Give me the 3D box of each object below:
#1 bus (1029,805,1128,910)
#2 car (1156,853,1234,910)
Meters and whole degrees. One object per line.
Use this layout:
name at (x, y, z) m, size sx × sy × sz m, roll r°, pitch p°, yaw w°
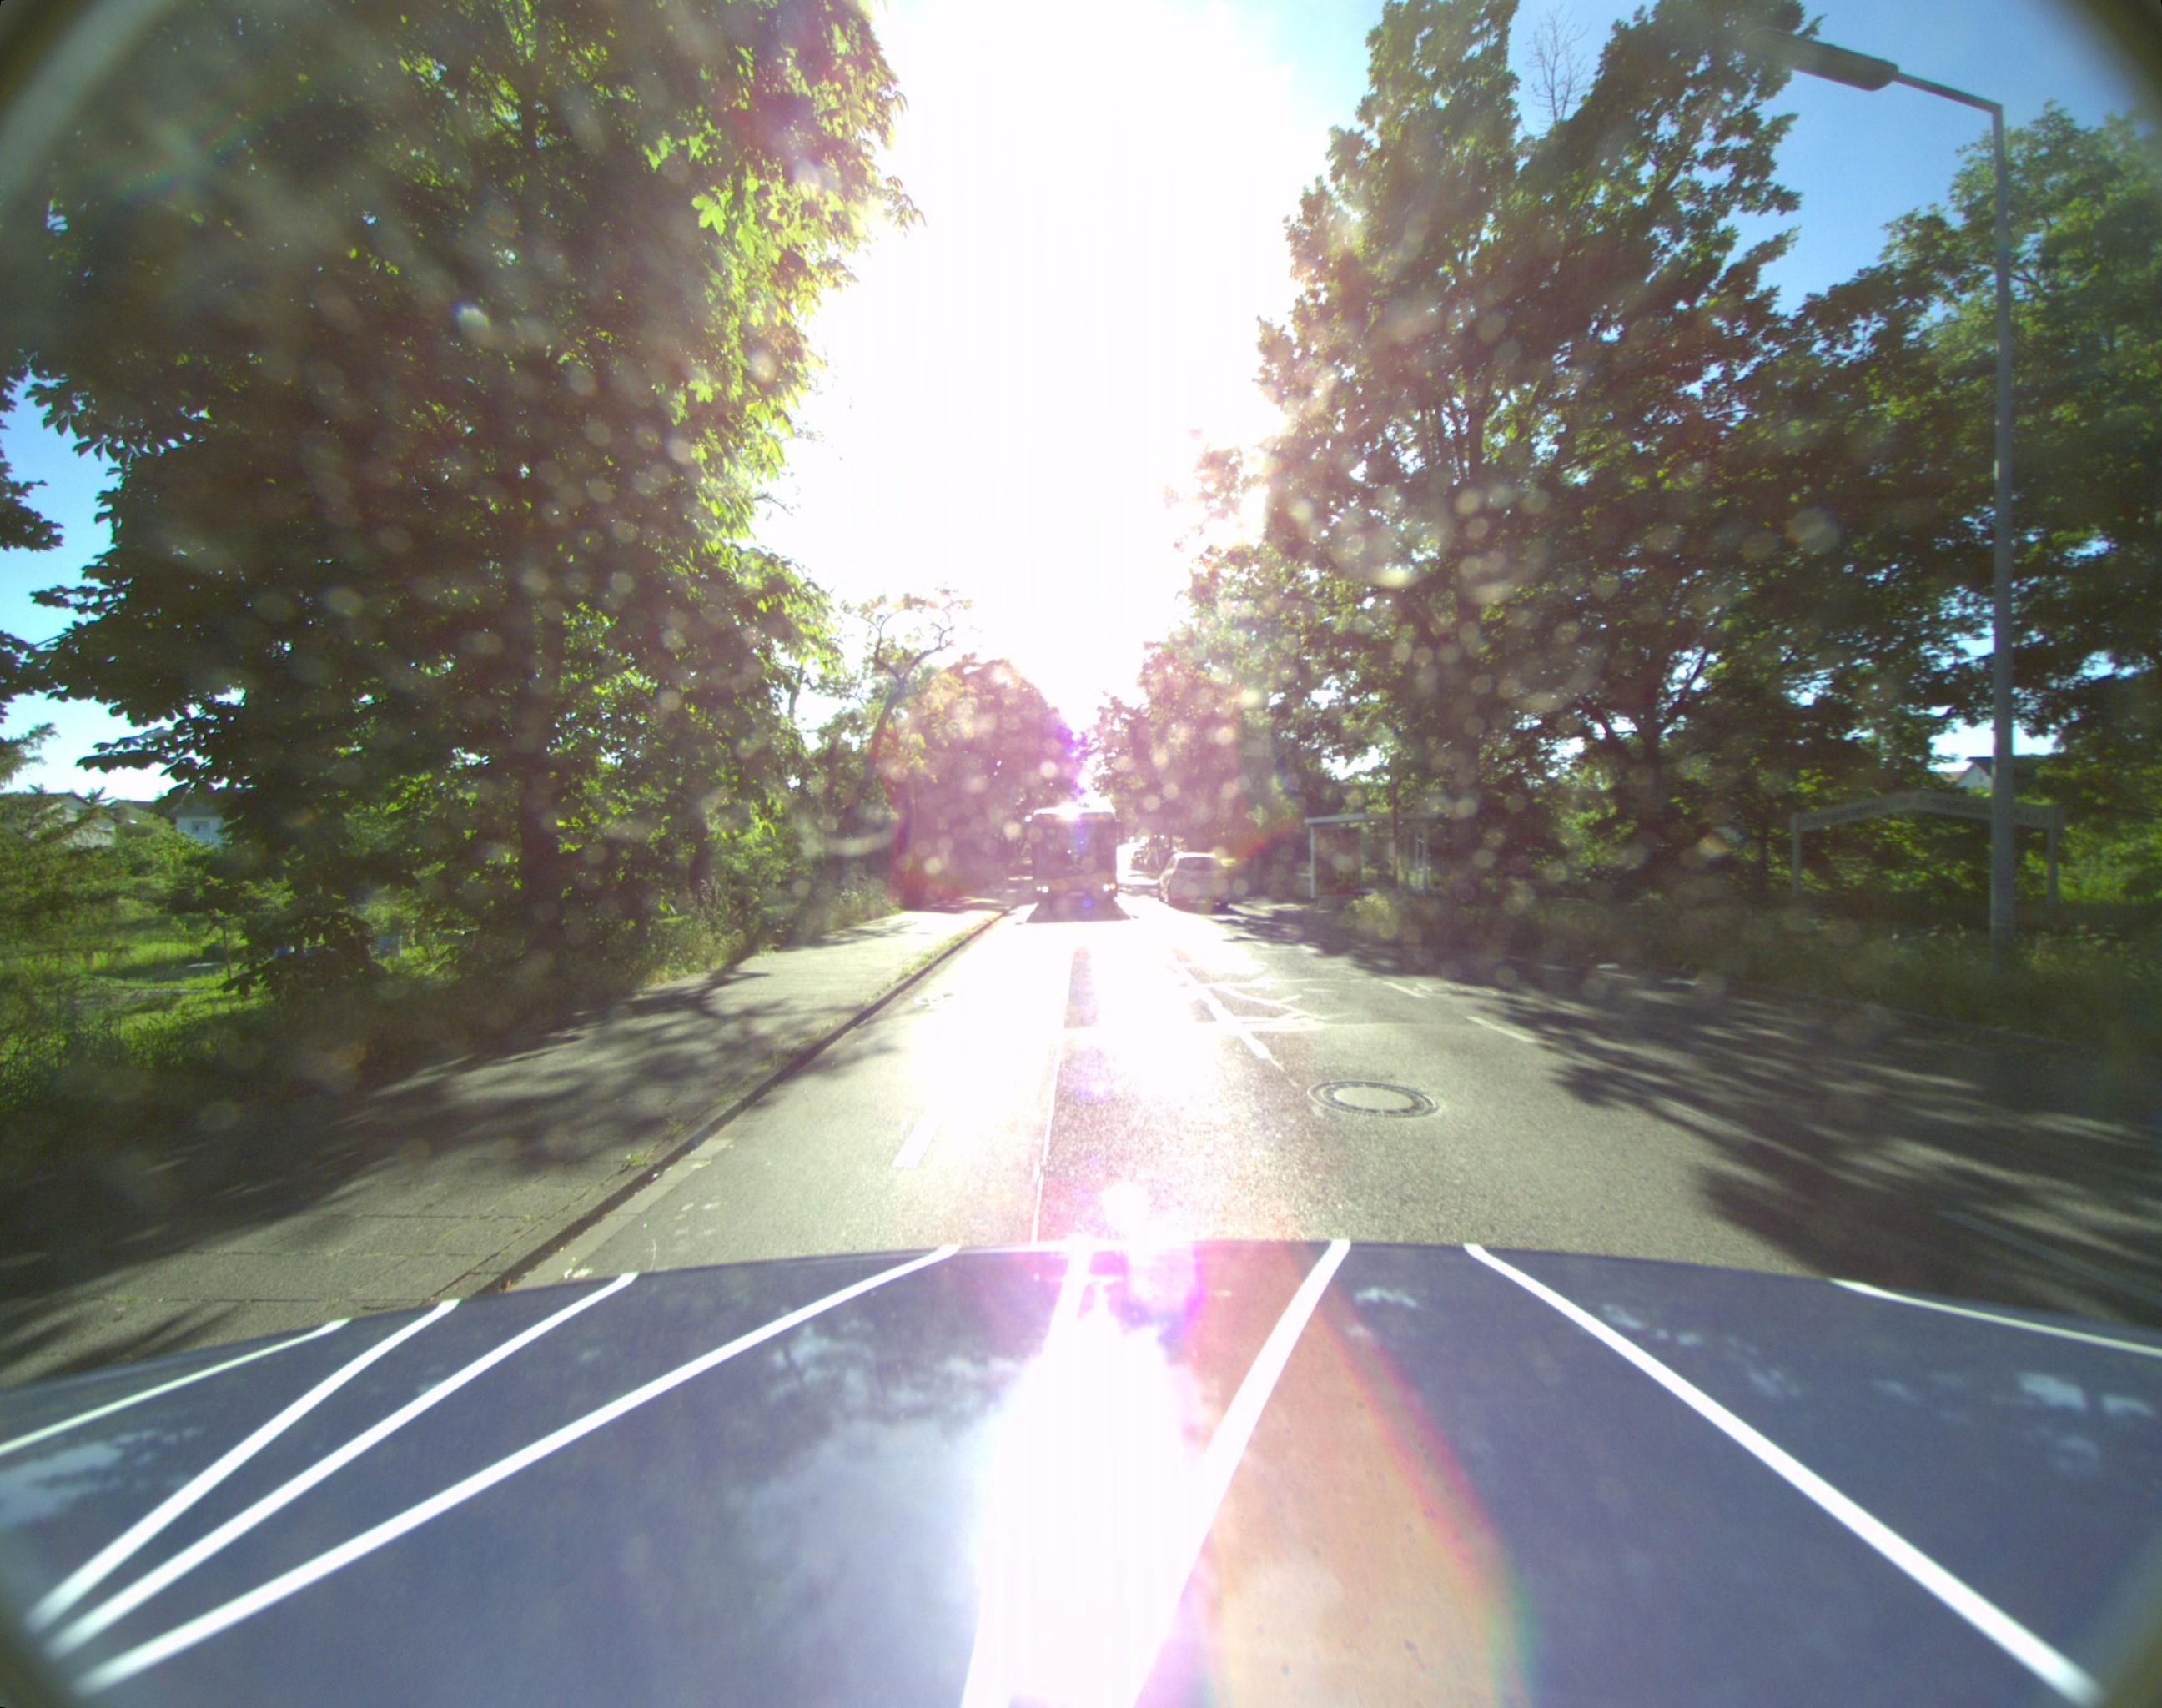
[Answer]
bus at (-0.151, 0.108, 28.656) m, size 2.790 × 2.965 × 12.893 m, roll -2°, pitch 0°, yaw -1°
car at (3.392, 0.784, 23.330) m, size 1.756 × 1.554 × 4.120 m, roll 1°, pitch 0°, yaw 0°
